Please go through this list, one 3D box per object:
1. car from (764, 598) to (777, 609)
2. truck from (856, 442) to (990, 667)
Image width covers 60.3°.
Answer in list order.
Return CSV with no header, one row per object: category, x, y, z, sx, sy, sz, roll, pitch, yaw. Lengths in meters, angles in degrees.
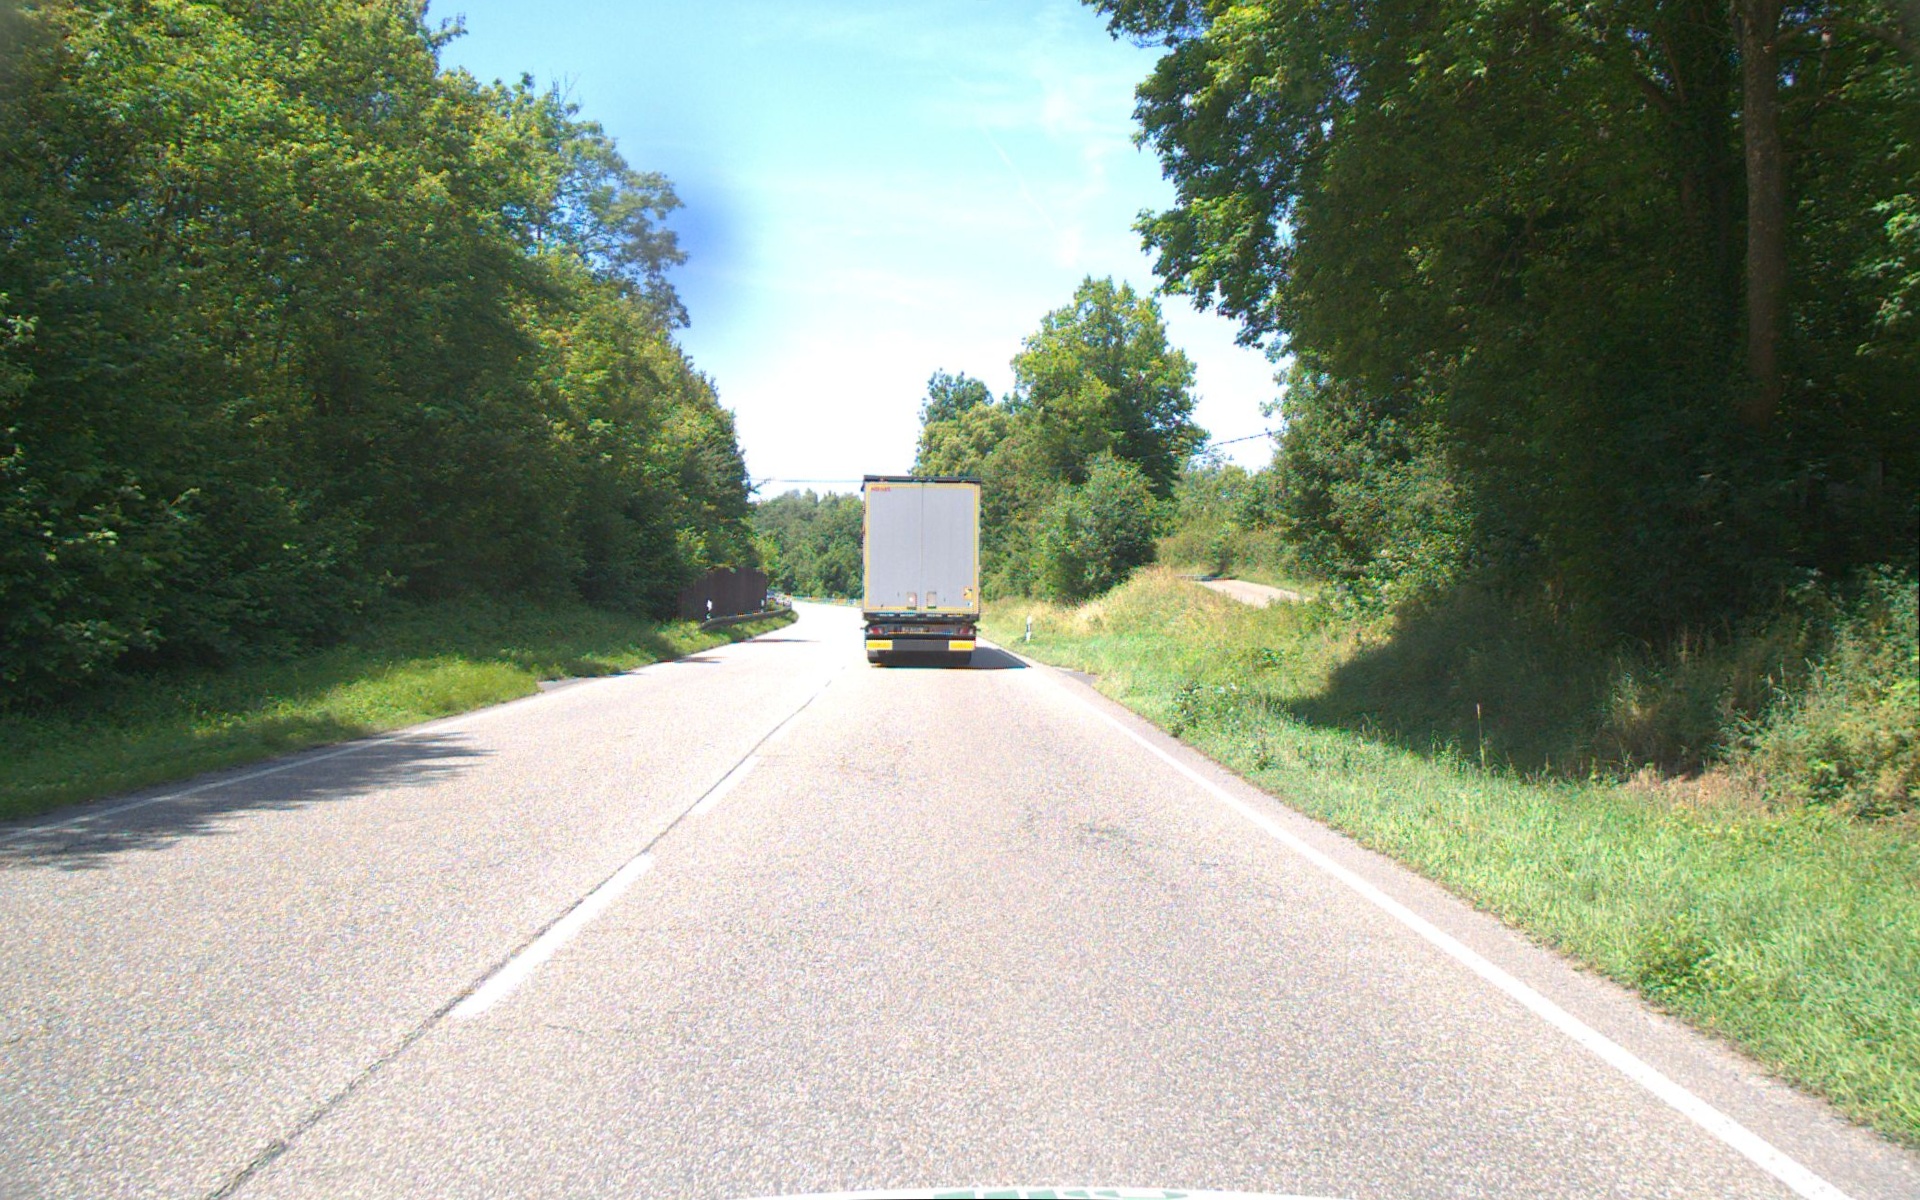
car,-27.677,0.517,241.305,1.588,1.517,3.607,0,0,-11
truck,-0.735,-0.910,38.137,2.764,4.685,6.665,1,-1,1
